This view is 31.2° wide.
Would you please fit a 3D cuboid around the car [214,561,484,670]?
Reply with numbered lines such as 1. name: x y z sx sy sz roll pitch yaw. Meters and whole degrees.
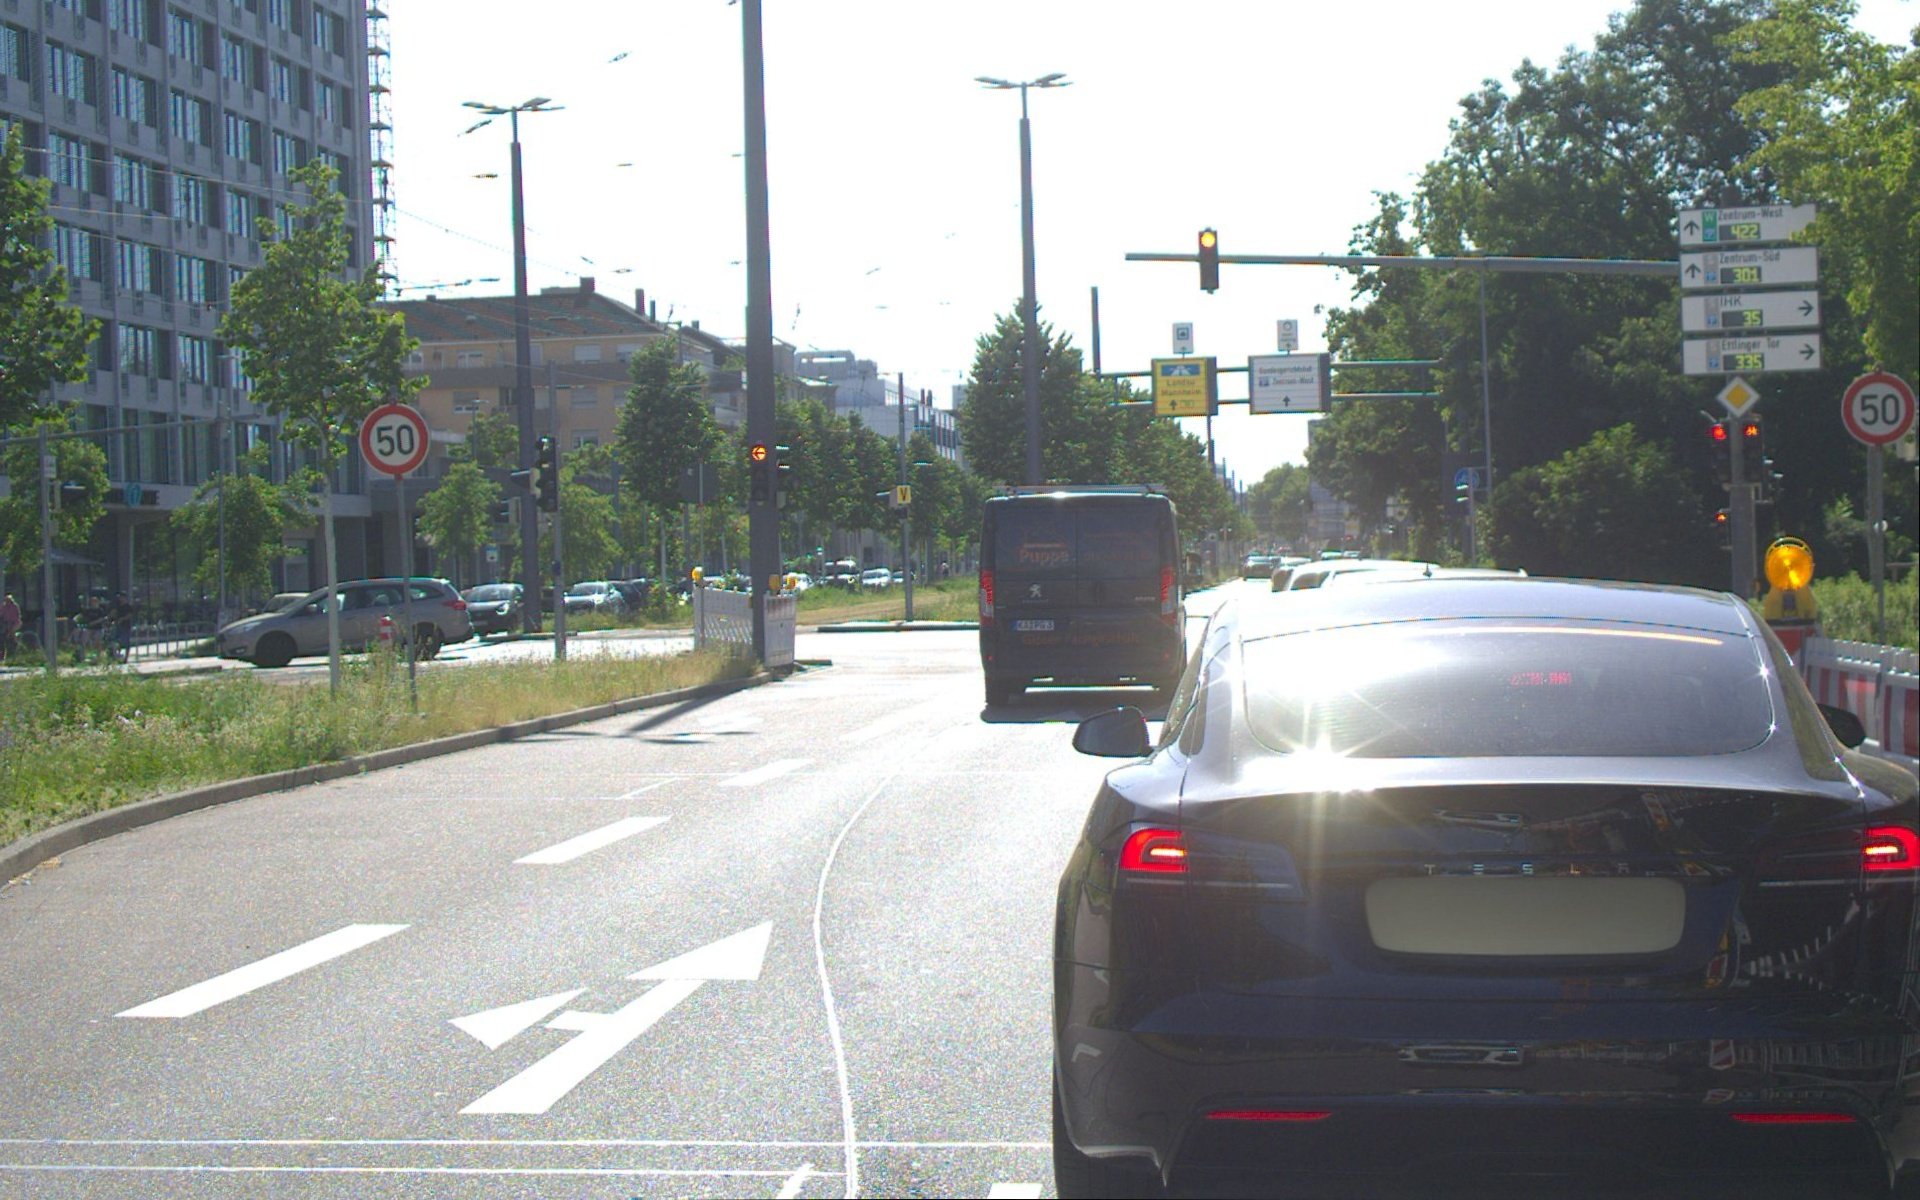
1. car: -11.075 0.257 62.235 4.511 1.786 2.001 -2 1 -19

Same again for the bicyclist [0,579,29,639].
1. bicyclist: -24.843 0.228 89.980 0.593 1.575 0.892 0 0 10

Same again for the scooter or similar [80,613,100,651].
1. scooter or similar: -21.791 0.803 86.134 0.285 0.944 0.767 -2 1 -1

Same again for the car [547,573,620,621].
1. car: -13.907 -0.125 127.204 1.791 1.645 3.999 -2 1 7

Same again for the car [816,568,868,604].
1. car: -5.579 -0.678 163.151 1.808 1.645 3.999 -2 1 7

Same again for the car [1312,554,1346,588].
1. car: 20.545 -1.626 191.359 1.792 1.867 3.849 0 1 5

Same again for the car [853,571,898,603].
1. car: -4.532 -0.721 184.983 1.791 1.645 3.999 -2 1 7

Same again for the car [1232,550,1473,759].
1. car: 3.129 0.378 27.372 1.750 1.522 4.004 0 1 7

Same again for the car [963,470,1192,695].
1. car: 1.332 -0.225 36.895 2.218 2.259 4.483 0 1 5

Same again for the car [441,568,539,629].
1. car: -13.501 -0.052 98.972 1.791 1.645 3.999 -2 1 7

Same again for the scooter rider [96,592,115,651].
1. scooter rider: -21.429 0.537 86.203 0.342 1.448 0.239 -2 0 7

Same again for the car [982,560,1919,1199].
1. car: 1.292 0.638 8.793 2.052 1.439 4.523 0 1 6

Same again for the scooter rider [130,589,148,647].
1. scooter rider: -20.509 0.450 85.860 0.342 1.448 0.239 -2 0 7

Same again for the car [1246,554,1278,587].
1. car: 17.211 -1.671 196.036 1.792 1.867 3.849 0 1 5

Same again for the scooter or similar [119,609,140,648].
1. scooter or similar: -20.752 0.711 85.869 0.228 0.944 0.767 -2 1 7

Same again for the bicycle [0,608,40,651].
1. bicycle: -24.709 0.774 89.955 0.587 1.096 1.622 0 0 10

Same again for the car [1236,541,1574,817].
1. car: 2.585 0.380 20.518 1.748 1.422 4.837 -1 1 6

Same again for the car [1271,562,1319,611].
1. car: 12.932 -0.526 132.896 1.792 1.867 3.849 0 1 5
